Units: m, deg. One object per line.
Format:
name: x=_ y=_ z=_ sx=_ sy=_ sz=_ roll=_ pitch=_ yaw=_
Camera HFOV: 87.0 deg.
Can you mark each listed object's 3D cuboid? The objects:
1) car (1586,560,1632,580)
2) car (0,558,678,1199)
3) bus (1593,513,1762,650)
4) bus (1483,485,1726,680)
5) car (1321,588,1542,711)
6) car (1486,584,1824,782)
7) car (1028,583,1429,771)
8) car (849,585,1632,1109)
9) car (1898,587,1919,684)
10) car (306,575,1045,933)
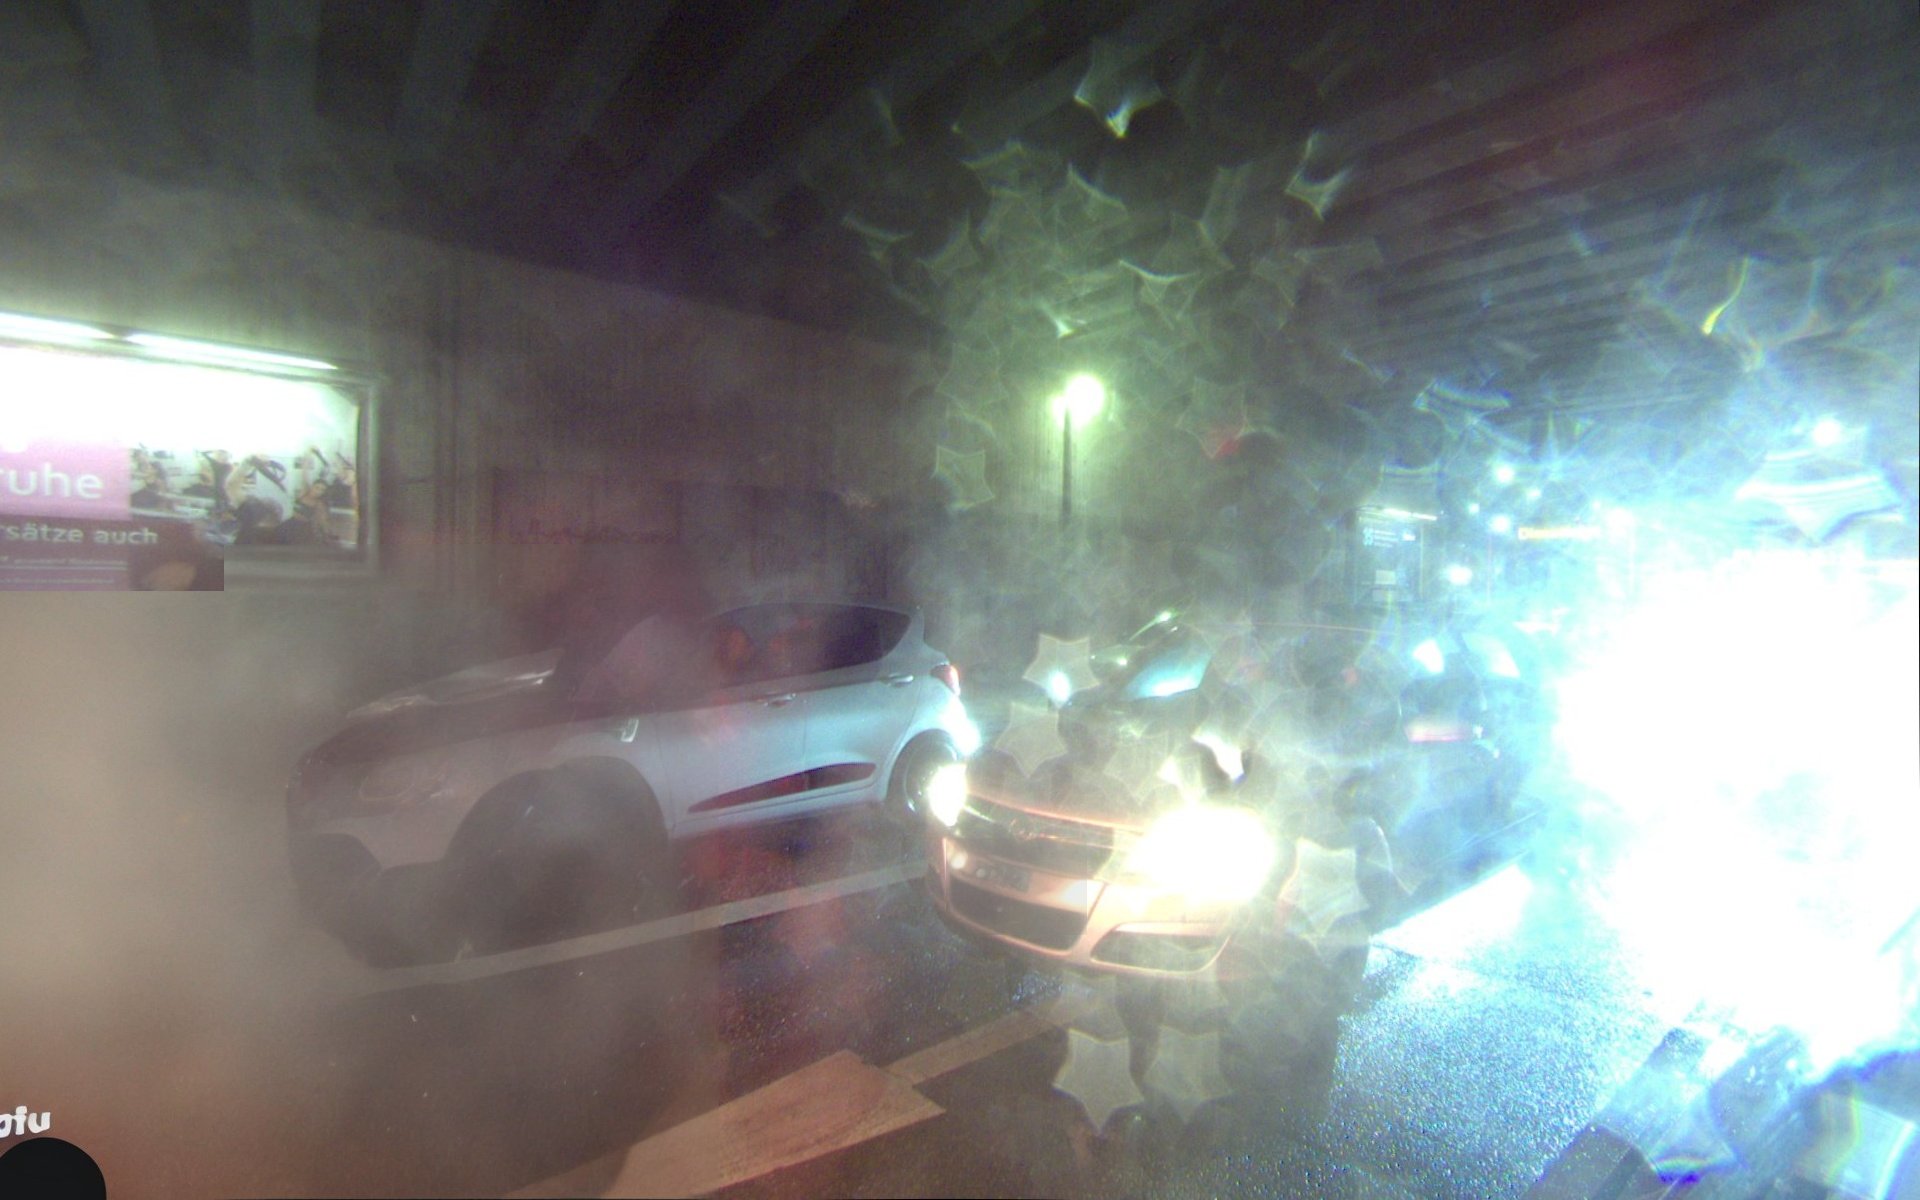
car: x=46.344 y=-2.129 z=72.346 sx=1.685 sy=1.407 sz=3.979 roll=0 pitch=1 yaw=17
car: x=-2.668 y=0.683 z=0.978 sx=4.308 sy=1.464 sz=1.723 roll=-1 pitch=3 yaw=-42
bus: x=20.521 y=-0.535 z=28.636 sx=2.733 sy=3.278 sz=9.551 roll=1 pitch=1 yaw=43
bus: x=14.062 y=-0.386 z=21.607 sx=2.733 sy=3.318 sz=9.551 roll=1 pitch=1 yaw=43
car: x=7.150 y=0.616 z=15.155 sx=1.721 sy=1.505 sz=4.096 roll=3 pitch=3 yaw=44
car: x=6.779 y=0.636 z=9.697 sx=4.091 sy=1.506 sz=1.722 roll=-1 pitch=-2 yaw=-42
car: x=2.957 y=0.592 z=10.461 sx=4.705 sy=1.505 sz=1.723 roll=-1 pitch=2 yaw=-42
car: x=1.632 y=0.668 z=4.879 sx=4.091 sy=1.464 sz=1.723 roll=-1 pitch=2 yaw=-42
car: x=16.655 y=0.568 z=16.578 sx=1.750 sy=1.464 sz=3.914 roll=3 pitch=3 yaw=41
car: x=-1.508 y=0.616 z=6.287 sx=4.091 sy=1.464 sz=1.723 roll=-1 pitch=3 yaw=-42
